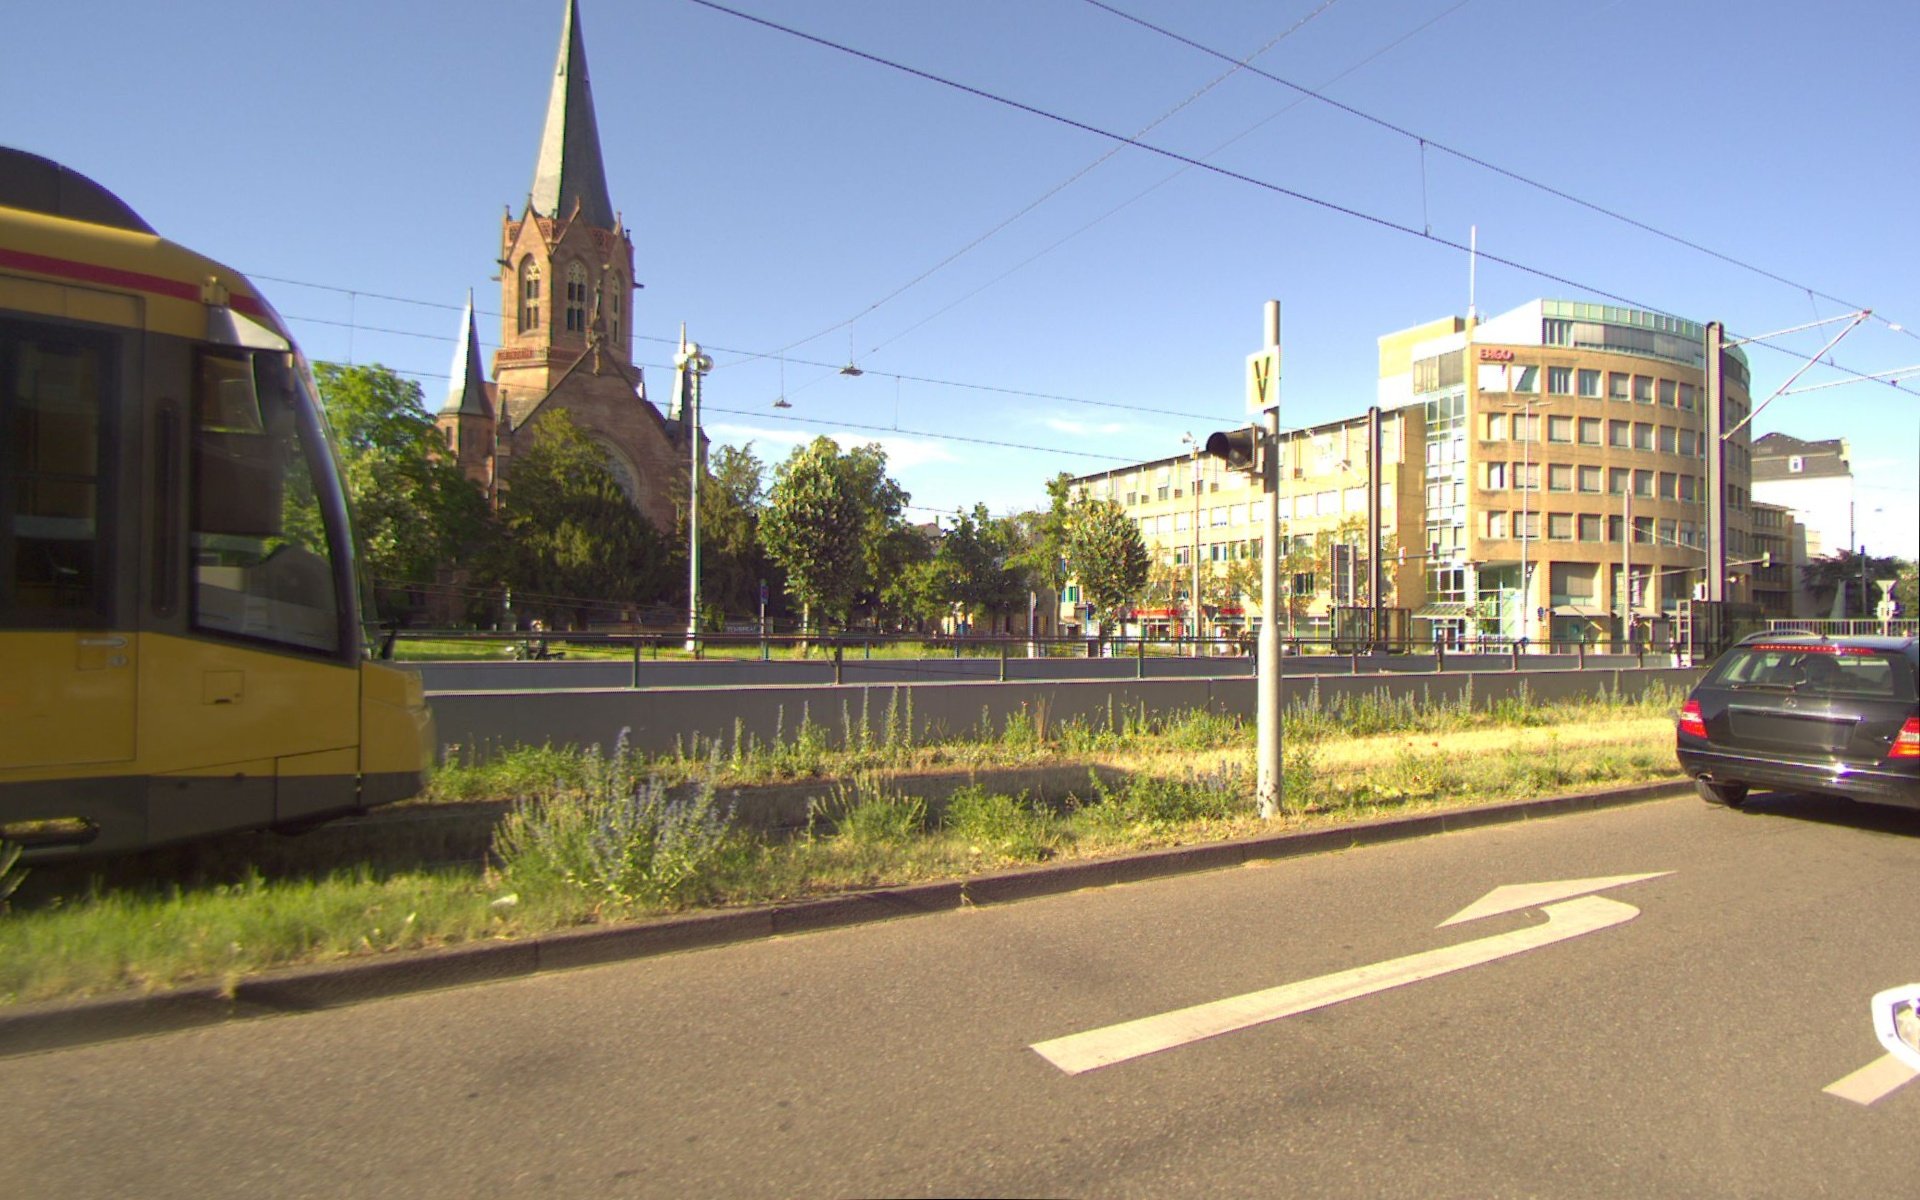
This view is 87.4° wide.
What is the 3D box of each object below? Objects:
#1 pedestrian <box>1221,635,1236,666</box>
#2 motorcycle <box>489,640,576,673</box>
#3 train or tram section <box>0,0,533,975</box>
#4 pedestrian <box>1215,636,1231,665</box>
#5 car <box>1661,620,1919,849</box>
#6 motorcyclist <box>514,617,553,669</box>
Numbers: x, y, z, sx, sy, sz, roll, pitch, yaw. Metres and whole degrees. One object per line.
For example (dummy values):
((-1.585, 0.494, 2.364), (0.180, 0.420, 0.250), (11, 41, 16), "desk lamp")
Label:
((13.447, 2.518, 50.271), (0.561, 1.551, 0.440), (1, 0, -30), "pedestrian")
((-11.578, 1.532, 27.229), (2.118, 0.861, 0.511), (2, 0, -29), "motorcycle")
((-7.463, -0.585, 3.446), (10.682, 3.949, 2.937), (2, 0, -32), "train or tram section")
((13.358, 2.568, 51.020), (0.484, 1.447, 0.609), (1, 0, -30), "pedestrian")
((7.805, 0.955, 8.387), (4.363, 1.489, 1.716), (2, -1, -33), "car")
((-11.568, 1.163, 27.236), (0.863, 1.355, 0.879), (2, 0, -29), "motorcyclist")
